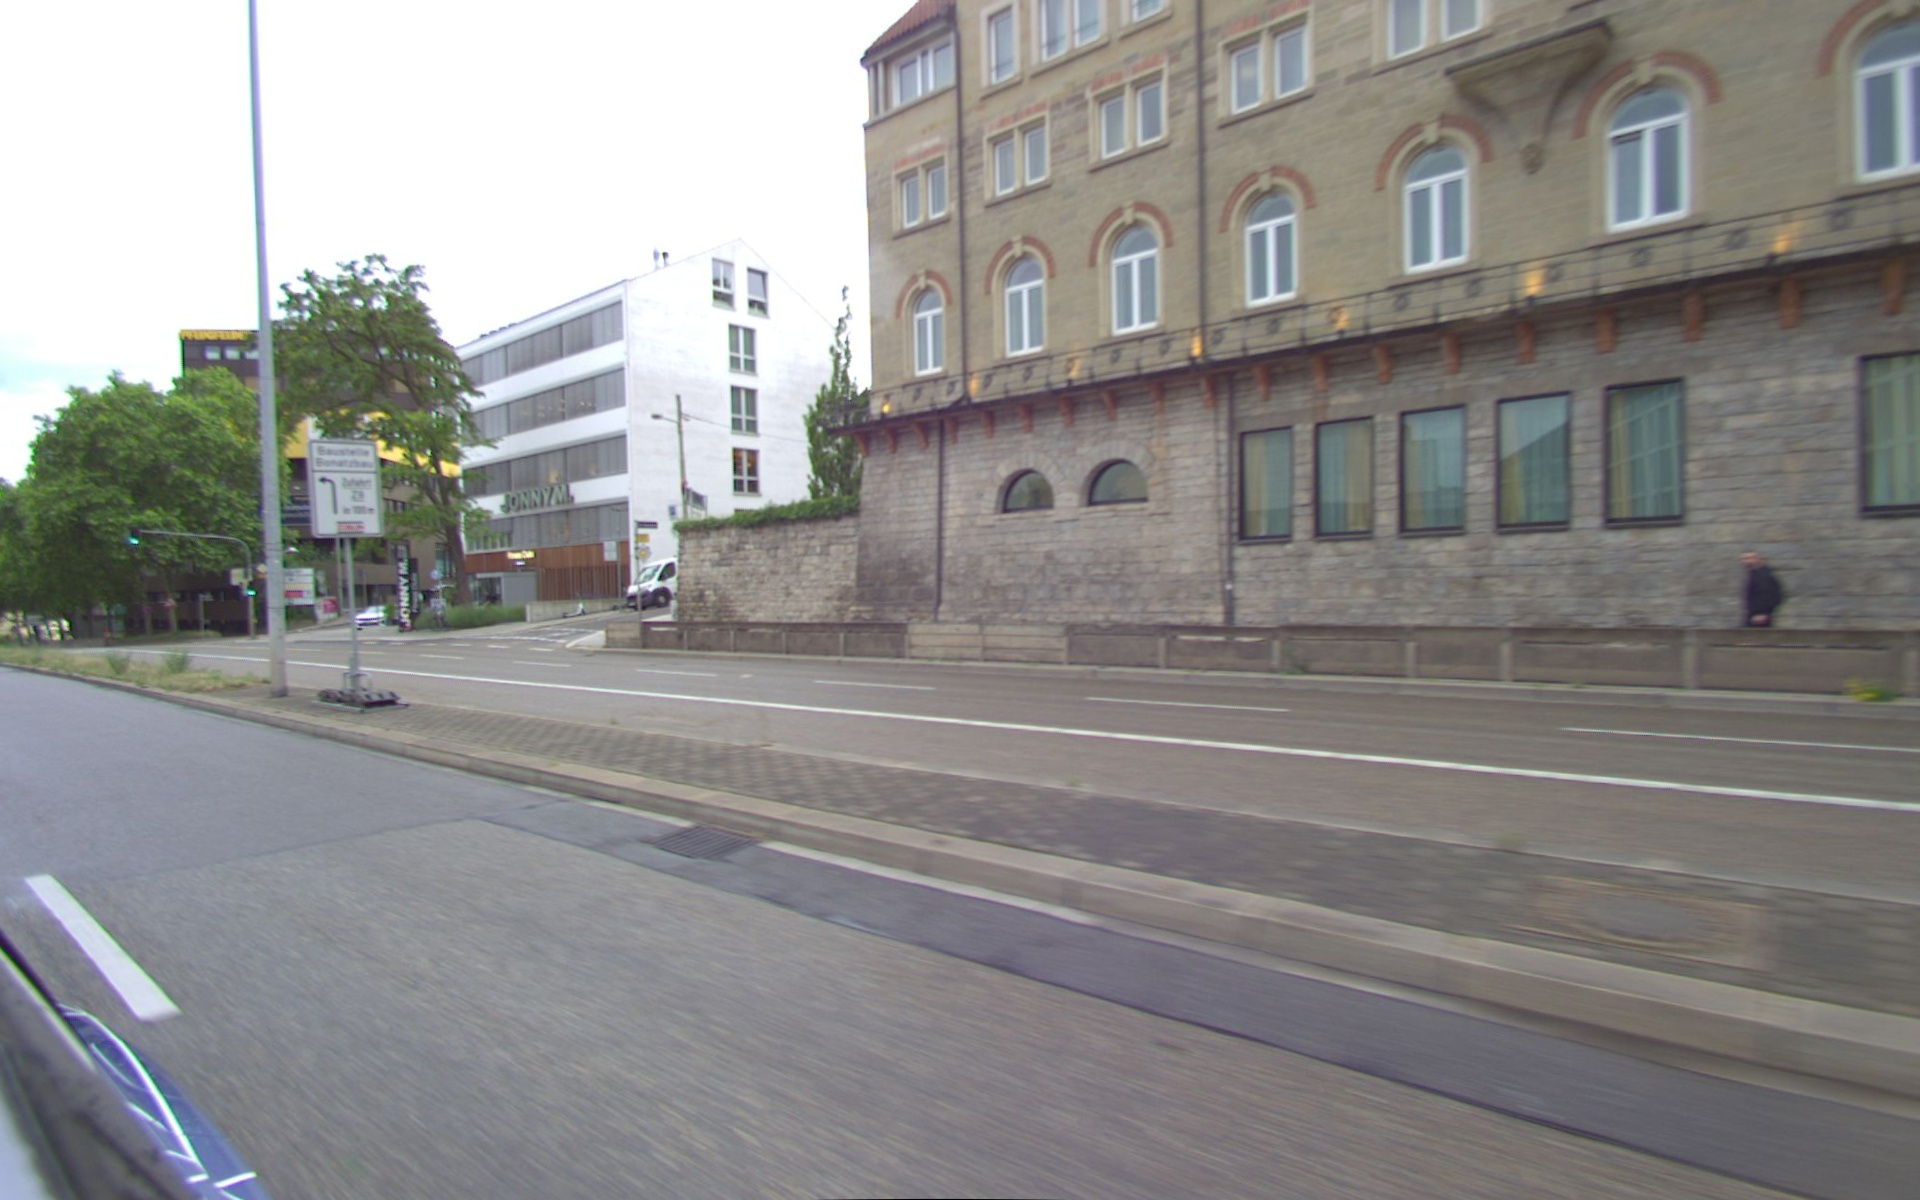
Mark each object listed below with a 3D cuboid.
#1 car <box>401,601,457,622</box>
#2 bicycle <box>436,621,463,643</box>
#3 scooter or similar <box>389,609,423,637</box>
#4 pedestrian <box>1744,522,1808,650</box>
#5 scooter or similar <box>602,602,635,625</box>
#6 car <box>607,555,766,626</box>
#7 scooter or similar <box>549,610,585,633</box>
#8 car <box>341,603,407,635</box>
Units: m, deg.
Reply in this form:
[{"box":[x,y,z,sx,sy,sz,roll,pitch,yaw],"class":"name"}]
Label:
[{"box":[-46.494,0.973,88.714,3.938,1.696,1.823,-2,0,-6],"class":"car"},{"box":[-23.792,1.512,47.154,1.757,0.999,0.452,-2,0,41],"class":"bicycle"},{"box":[-27.193,1.119,49.682,0.366,1.256,1.750,-2,2,11],"class":"scooter or similar"},{"box":[11.608,-0.189,14.410,0.620,1.759,0.634,-3,-2,39],"class":"pedestrian"},{"box":[-16.500,0.648,48.896,0.443,0.928,1.455,-3,3,38],"class":"scooter or similar"},{"box":[-12.862,-0.530,48.116,2.513,2.291,6.836,-7,3,41],"class":"car"},{"box":[-18.278,1.000,47.130,0.443,0.928,1.455,-3,3,38],"class":"scooter or similar"},{"box":[-36.057,1.140,62.458,1.967,1.666,4.855,-3,2,-11],"class":"car"}]
